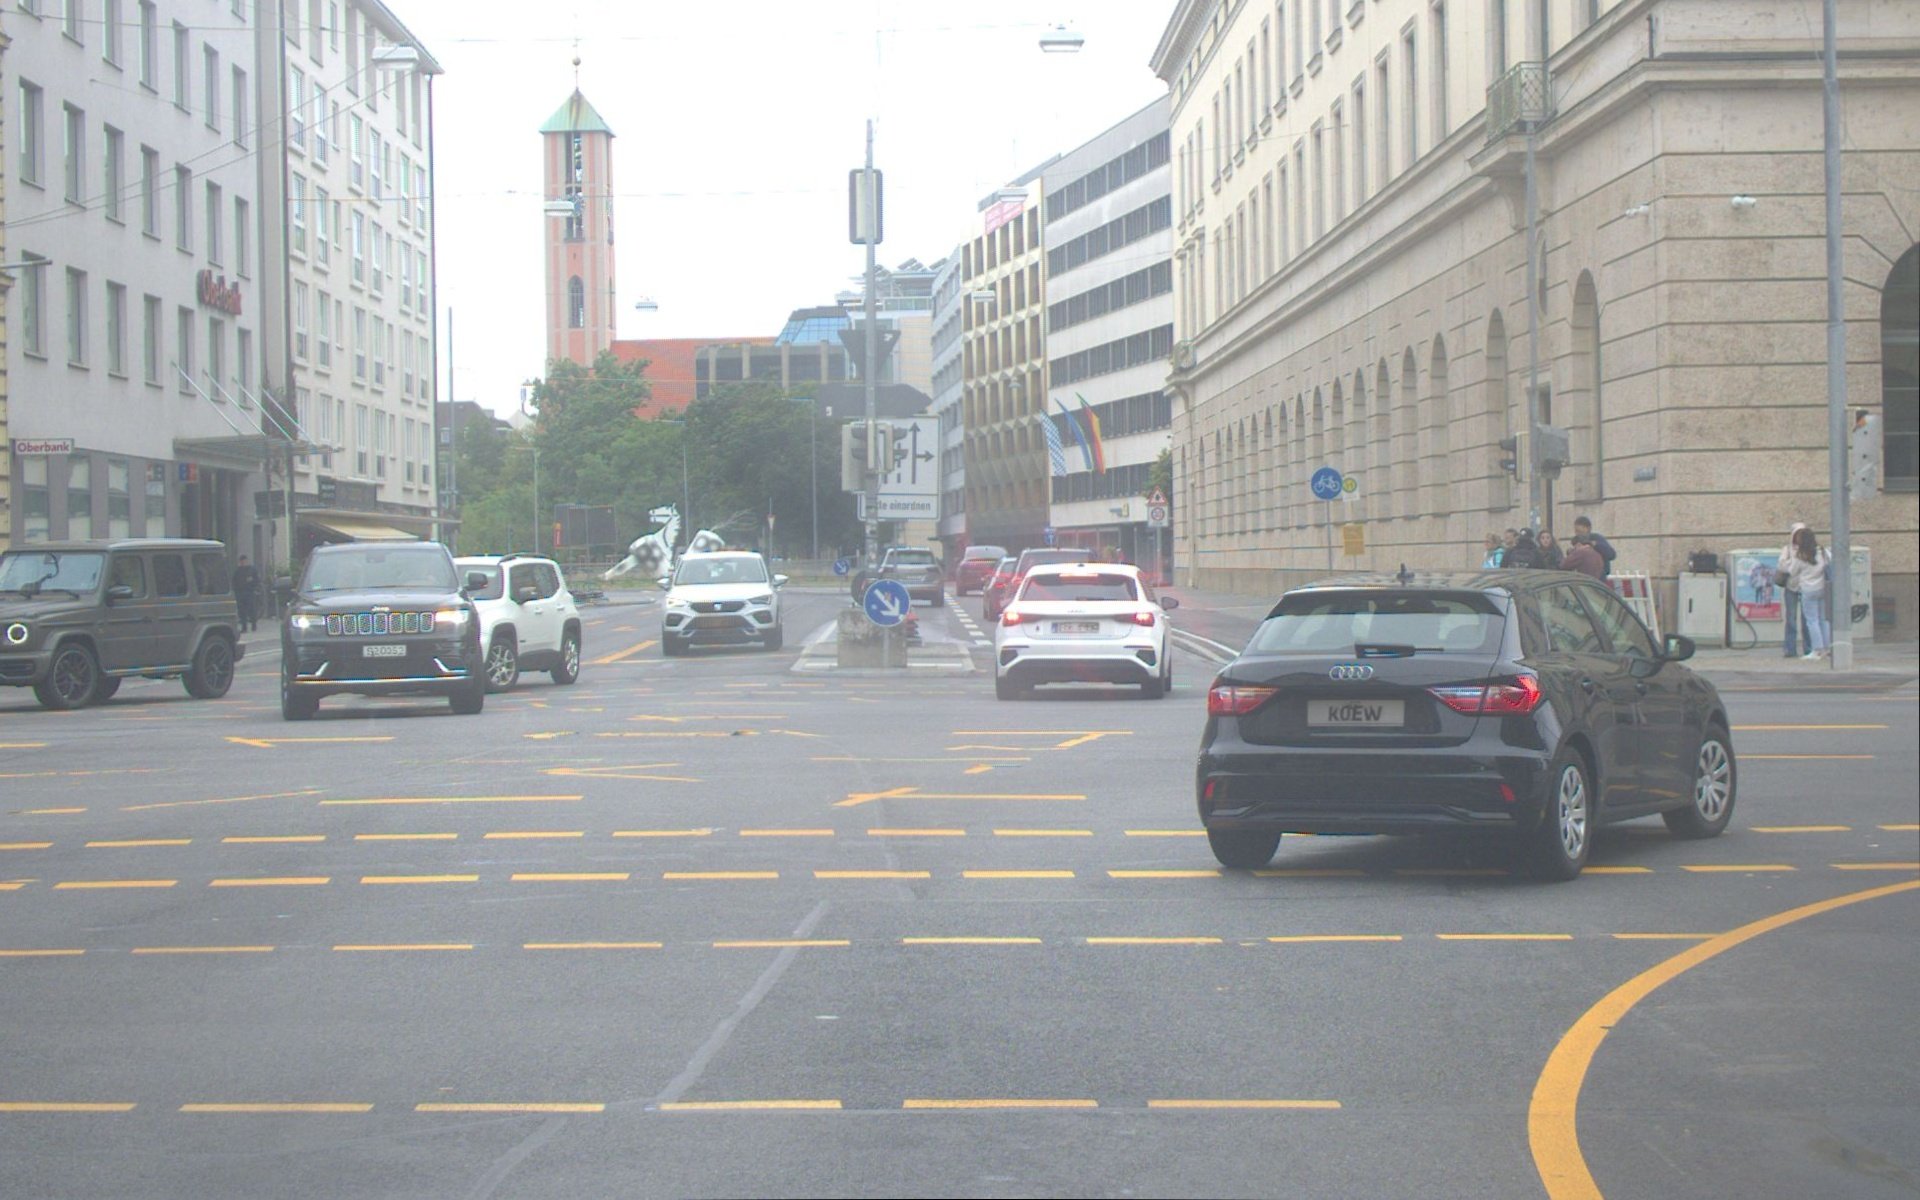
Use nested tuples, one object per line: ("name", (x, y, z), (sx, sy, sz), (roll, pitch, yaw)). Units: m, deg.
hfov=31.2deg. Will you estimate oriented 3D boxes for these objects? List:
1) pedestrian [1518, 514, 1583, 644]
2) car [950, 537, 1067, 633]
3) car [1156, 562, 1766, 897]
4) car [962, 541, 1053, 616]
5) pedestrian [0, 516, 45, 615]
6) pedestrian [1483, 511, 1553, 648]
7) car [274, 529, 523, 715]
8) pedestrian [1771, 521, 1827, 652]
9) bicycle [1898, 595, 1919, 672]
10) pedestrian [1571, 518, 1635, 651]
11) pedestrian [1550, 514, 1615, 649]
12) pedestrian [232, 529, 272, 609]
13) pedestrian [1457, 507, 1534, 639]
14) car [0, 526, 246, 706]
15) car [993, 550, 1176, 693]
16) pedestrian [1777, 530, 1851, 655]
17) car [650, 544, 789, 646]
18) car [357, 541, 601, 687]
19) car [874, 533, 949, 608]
("pedestrian", (8.036, -0.290, 46.775), (0.818, 1.749, 0.585), (1, 1, 13))
("car", (0.811, -0.284, 59.776), (1.865, 1.596, 3.851), (-1, 1, -2))
("car", (2.575, 0.528, 16.823), (1.866, 1.383, 3.995), (1, 1, 25))
("car", (1.037, -0.504, 76.904), (1.865, 1.596, 3.851), (-1, 1, -2))
("pedestrian", (-16.853, -0.626, 61.592), (0.736, 1.766, 0.736), (0, 1, -1))
("pedestrian", (7.226, -0.275, 44.510), (0.818, 1.749, 0.679), (1, 1, 15))
("car", (-5.625, 0.164, 34.959), (1.994, 1.728, 4.586), (-1, 1, -3))
("pedestrian", (10.766, -0.180, 44.121), (0.616, 1.666, 0.542), (0, 1, 7))
("bicycle", (11.918, 0.392, 39.719), (1.972, 0.876, 0.661), (0, 1, 2))
("pedestrian", (8.561, -0.215, 45.783), (0.584, 1.749, 0.818), (1, 1, 30))
("pedestrian", (8.156, -0.250, 45.017), (0.584, 1.749, 0.818), (1, 1, 30))
("pedestrian", (-15.718, -0.700, 76.316), (0.736, 1.766, 0.736), (0, 1, -1))
("pedestrian", (7.187, -0.363, 46.150), (0.817, 1.749, 0.585), (0, 1, -31))
("car", (-10.720, 0.141, 41.029), (2.240, 2.007, 4.445), (-1, 1, 21))
("car", (1.406, 0.189, 37.317), (1.813, 1.420, 4.452), (1, 1, 4))
("pedestrian", (10.777, -0.101, 43.385), (0.817, 1.552, 0.667), (0, 1, 7))
("car", (-3.773, -0.110, 54.549), (1.993, 1.518, 4.233), (-1, 1, -2))
("car", (-5.879, 0.135, 42.487), (1.794, 1.672, 4.231), (-1, 1, 9))
("car", (-1.360, -0.839, 94.960), (1.993, 2.007, 4.000), (-1, 1, -2))
